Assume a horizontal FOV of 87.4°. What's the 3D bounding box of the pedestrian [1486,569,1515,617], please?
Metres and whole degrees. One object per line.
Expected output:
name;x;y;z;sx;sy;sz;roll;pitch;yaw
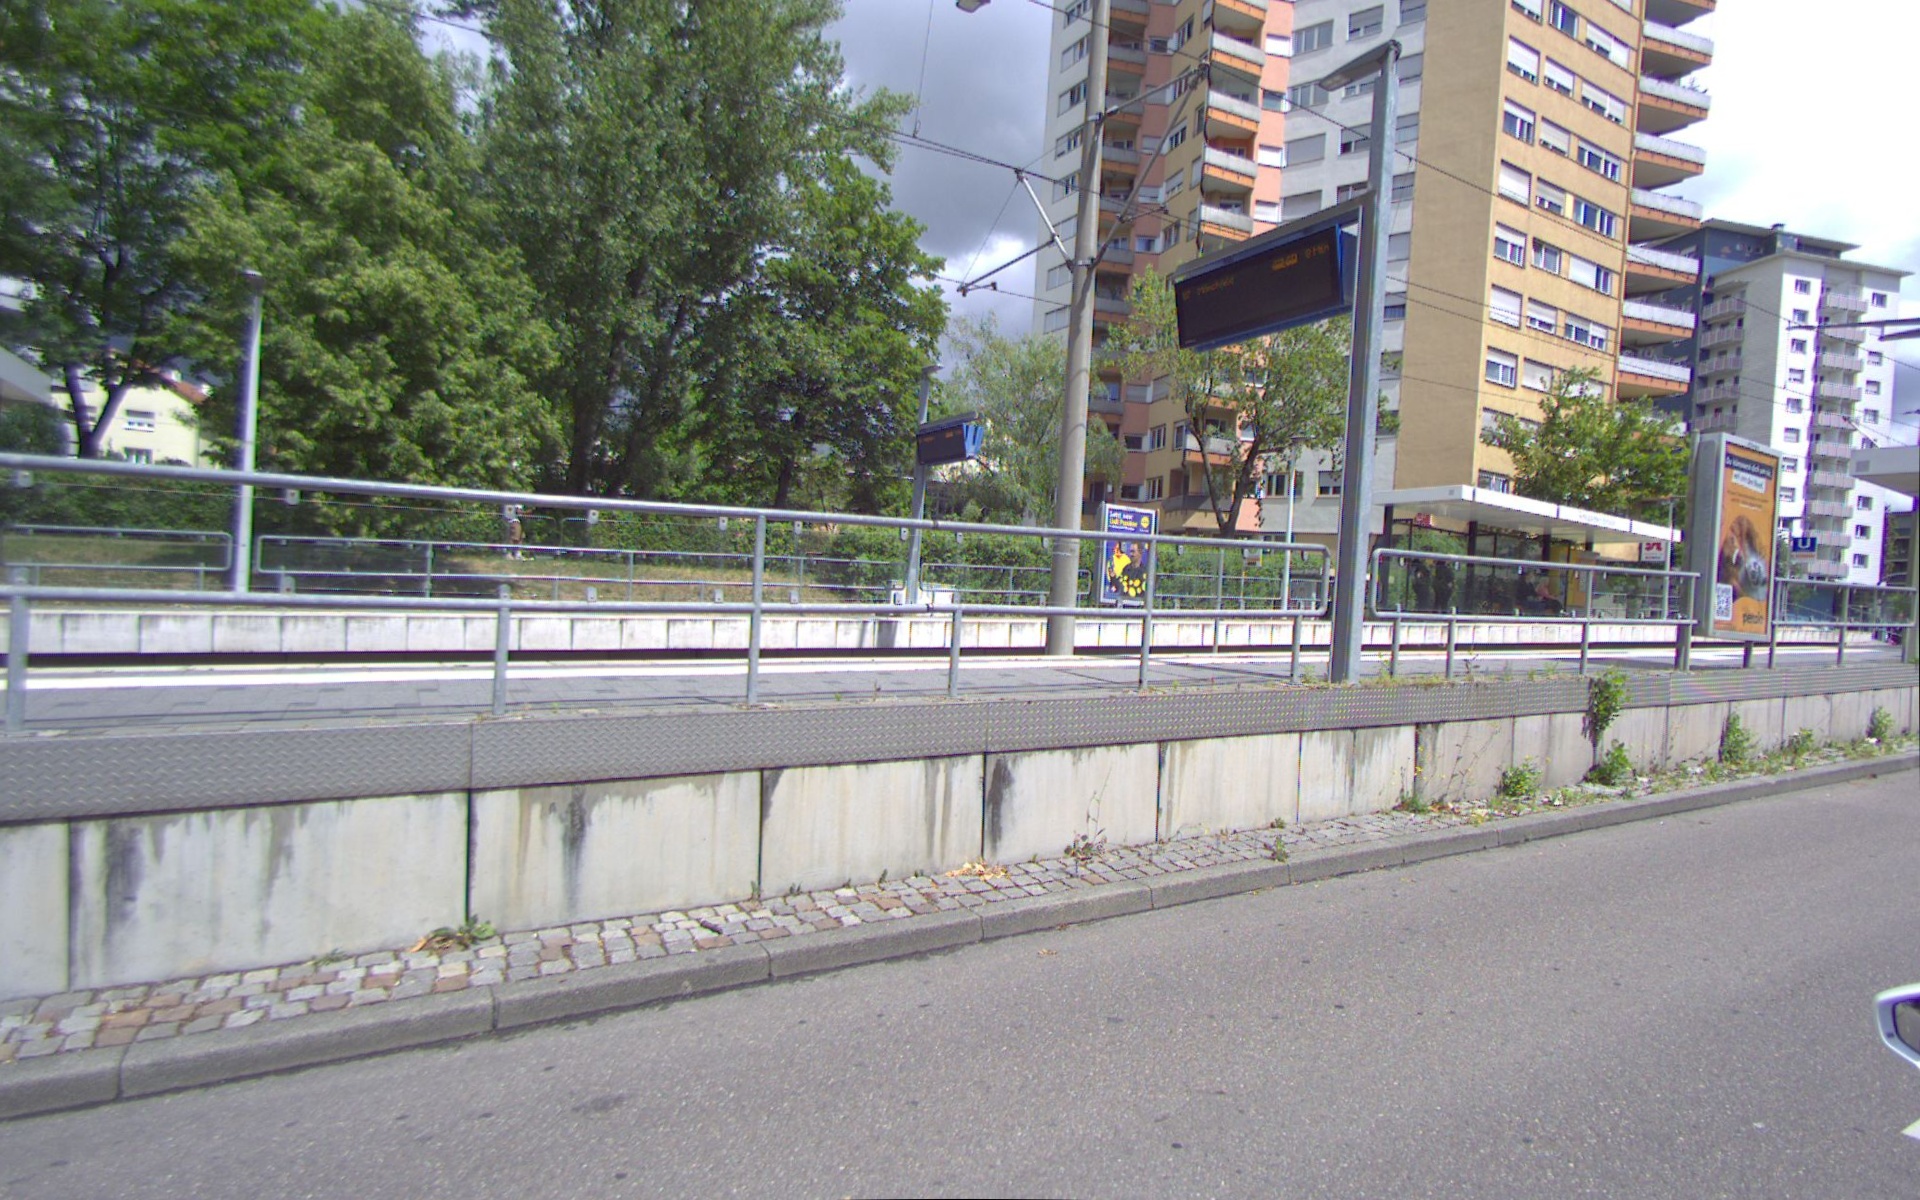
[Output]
pedestrian;14.129;-0.181;26.264;0.539;1.253;0.515;1;0;-43

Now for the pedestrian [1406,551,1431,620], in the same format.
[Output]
pedestrian;11.229;-0.359;24.578;0.512;1.666;0.564;1;0;26

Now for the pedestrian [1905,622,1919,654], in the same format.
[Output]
pedestrian;41.002;1.624;42.914;0.676;1.360;0.859;2;0;28

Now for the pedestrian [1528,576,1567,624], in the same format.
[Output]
pedestrian;15.860;-0.002;27.142;0.512;1.253;0.738;1;0;-31

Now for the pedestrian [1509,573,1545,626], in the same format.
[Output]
pedestrian;15.104;-0.023;26.767;0.501;1.387;0.640;1;0;-31

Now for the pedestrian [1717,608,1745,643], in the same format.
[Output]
pedestrian;38.771;1.282;50.530;0.678;1.719;0.857;1;0;-17

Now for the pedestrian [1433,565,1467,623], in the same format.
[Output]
pedestrian;12.143;-0.153;24.893;0.517;1.397;0.537;5;-2;-40

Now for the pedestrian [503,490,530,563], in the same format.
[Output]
pedestrian;-10.860;-1.781;24.605;0.499;1.735;0.647;1;0;-31
